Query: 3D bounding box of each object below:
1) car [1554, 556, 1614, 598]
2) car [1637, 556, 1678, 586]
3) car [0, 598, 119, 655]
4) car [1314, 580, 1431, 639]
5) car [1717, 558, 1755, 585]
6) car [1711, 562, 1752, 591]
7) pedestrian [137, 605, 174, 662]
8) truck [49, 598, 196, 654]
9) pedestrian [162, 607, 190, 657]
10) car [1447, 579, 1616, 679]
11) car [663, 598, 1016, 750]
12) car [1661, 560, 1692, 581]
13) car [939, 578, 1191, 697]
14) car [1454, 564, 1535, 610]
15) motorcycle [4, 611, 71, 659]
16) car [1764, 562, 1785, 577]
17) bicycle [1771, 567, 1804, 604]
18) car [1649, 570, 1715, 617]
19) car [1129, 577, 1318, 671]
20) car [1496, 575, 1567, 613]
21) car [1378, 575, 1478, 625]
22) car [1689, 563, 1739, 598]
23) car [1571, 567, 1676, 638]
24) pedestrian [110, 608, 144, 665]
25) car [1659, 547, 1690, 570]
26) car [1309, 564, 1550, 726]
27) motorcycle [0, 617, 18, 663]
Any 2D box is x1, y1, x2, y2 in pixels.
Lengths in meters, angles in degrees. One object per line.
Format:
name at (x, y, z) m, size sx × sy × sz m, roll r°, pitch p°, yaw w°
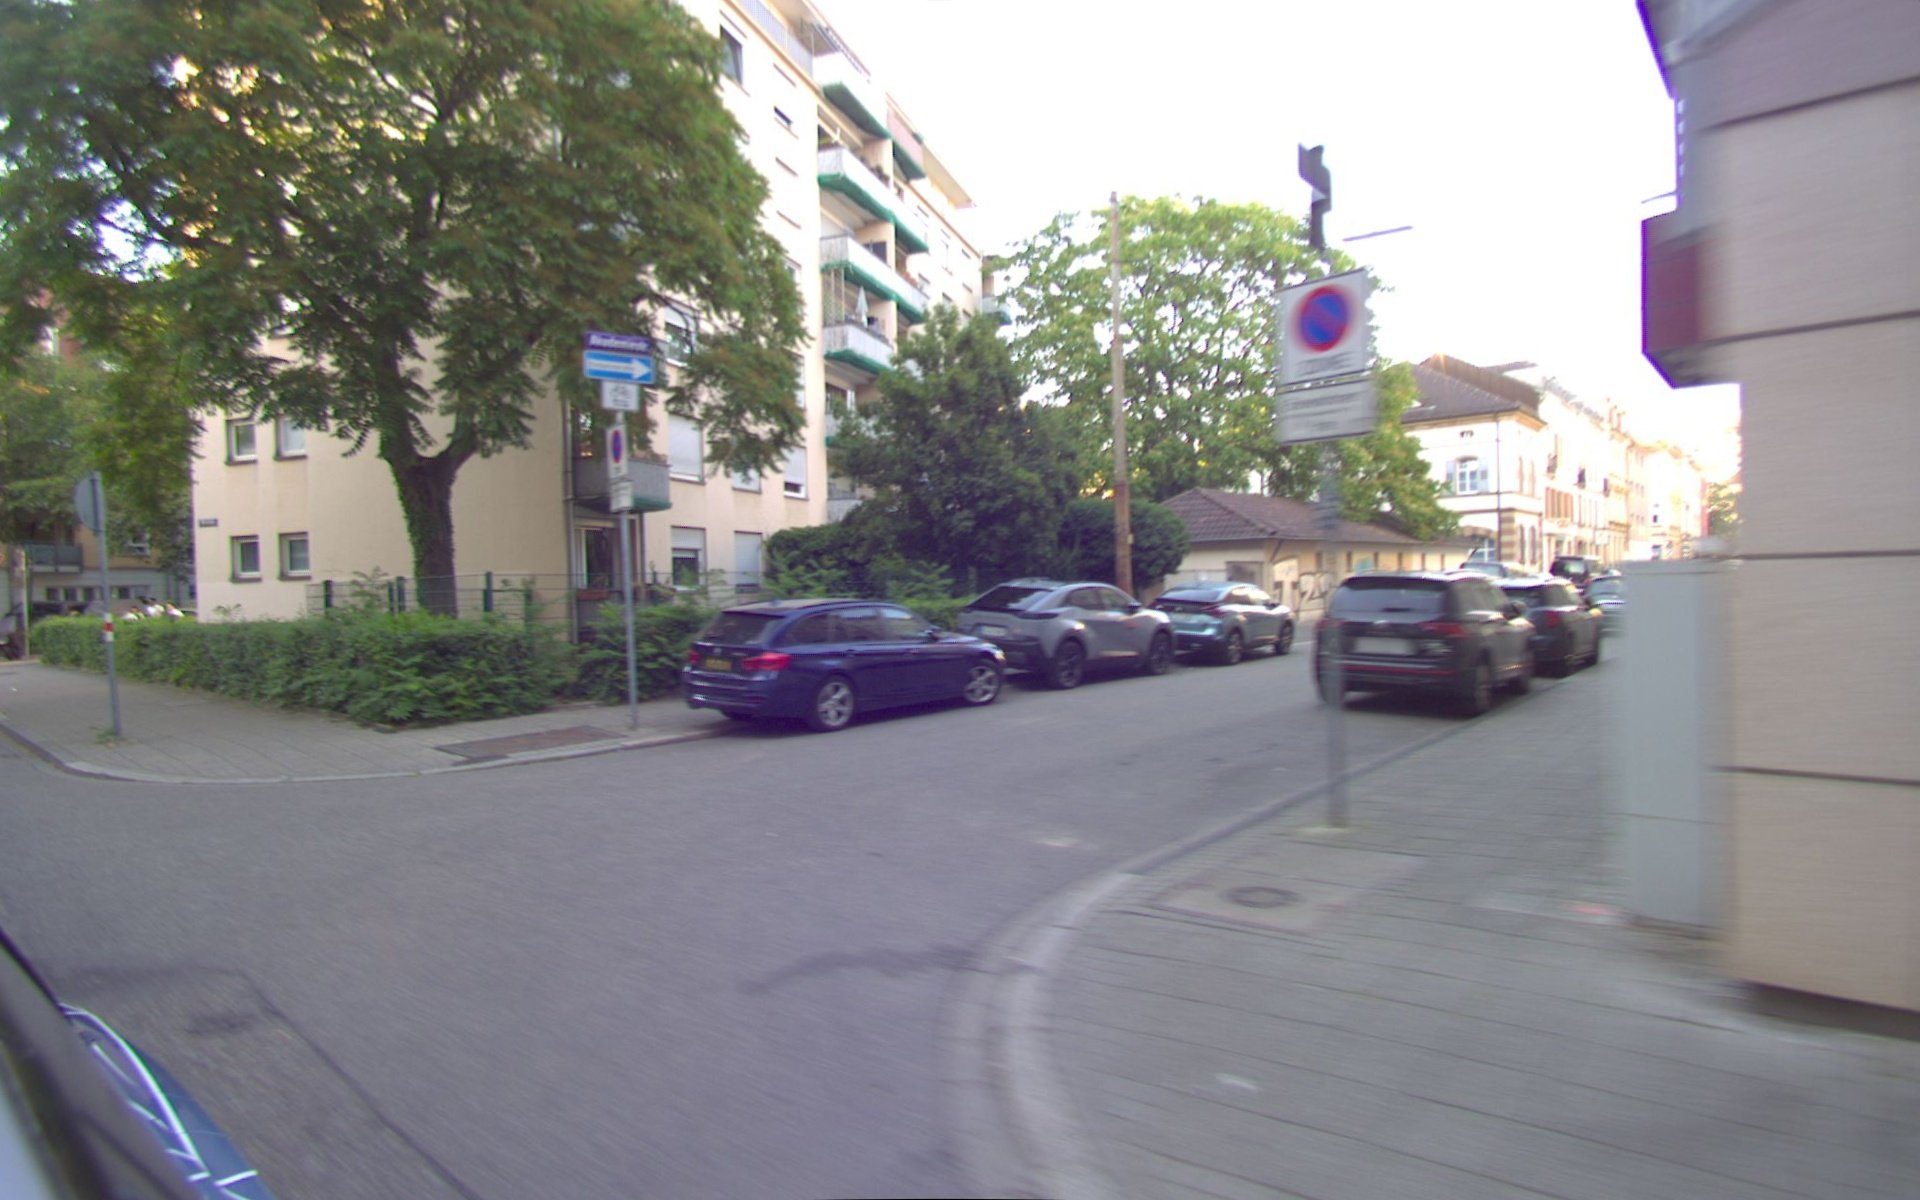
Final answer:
car at (30.753, -1.122, 49.829) m, size 1.845 × 1.975 × 3.848 m, roll -2°, pitch 0°, yaw 42°
car at (48.815, -2.010, 70.784) m, size 1.845 × 1.975 × 3.848 m, roll -2°, pitch 0°, yaw 42°
car at (-37.634, 1.056, 42.059) m, size 4.599 × 2.149 × 2.024 m, roll 2°, pitch 1°, yaw 19°
car at (11.576, 0.229, 28.299) m, size 1.845 × 1.496 × 3.848 m, roll -1°, pitch 0°, yaw 42°
car at (47.036, -1.707, 61.311) m, size 1.498 × 1.520 × 3.139 m, roll -2°, pitch 0°, yaw 43°
car at (42.978, -1.319, 56.361) m, size 1.498 × 1.520 × 3.139 m, roll -2°, pitch 0°, yaw 43°
pedestrian at (-26.248, 1.096, 33.030) m, size 0.694 × 1.801 × 0.660 m, roll -2°, pitch 0°, yaw 23°
truck at (-37.001, 1.106, 44.697) m, size 5.977 × 2.149 × 2.247 m, roll 2°, pitch 1°, yaw 19°
pedestrian at (-25.244, 1.026, 32.591) m, size 0.657 × 1.583 × 0.445 m, roll -1°, pitch 0°, yaw 23°
car at (9.508, 0.417, 16.696) m, size 1.760 × 1.459 × 3.794 m, roll -2°, pitch 0°, yaw 40°
car at (-1.282, 0.751, 12.357) m, size 1.684 × 1.469 × 4.301 m, roll -2°, pitch 0°, yaw 39°
car at (55.124, -2.268, 77.845) m, size 1.498 × 1.520 × 3.139 m, roll -2°, pitch 0°, yaw 43°
car at (1.824, 0.517, 16.460) m, size 1.828 × 1.652 × 4.323 m, roll -2°, pitch 0°, yaw 42°
car at (20.262, -0.488, 38.286) m, size 1.845 × 1.621 × 3.848 m, roll -1°, pitch 0°, yaw 42°
motorcycle at (-30.312, 1.157, 33.255) m, size 2.208 × 1.505 × 0.686 m, roll -2°, pitch 0°, yaw 21°
car at (85.865, -3.200, 106.633) m, size 1.498 × 1.520 × 3.139 m, roll -2°, pitch 0°, yaw 43°
bicycle at (30.448, -0.549, 37.236) m, size 0.794 × 1.270 × 2.915 m, roll -4°, pitch 0°, yaw 41°
car at (25.743, -0.246, 36.043) m, size 1.498 × 1.532 × 3.139 m, roll -2°, pitch 0°, yaw 43°
car at (5.367, 0.424, 20.281) m, size 1.828 × 1.652 × 4.323 m, roll -2°, pitch 0°, yaw 42°
car at (24.177, -0.276, 42.746) m, size 1.845 × 1.496 × 3.848 m, roll -1°, pitch 0°, yaw 42°
car at (14.986, -0.024, 32.300) m, size 1.845 × 1.496 × 3.848 m, roll -1°, pitch 0°, yaw 42°
car at (35.036, -0.900, 46.999) m, size 1.498 × 1.520 × 3.139 m, roll -2°, pitch 0°, yaw 43°
car at (16.180, 0.048, 24.632) m, size 1.616 × 1.599 × 3.139 m, roll -2°, pitch 0°, yaw 43°
pedestrian at (-27.018, 1.164, 32.819) m, size 0.687 × 1.801 × 0.531 m, roll -2°, pitch 0°, yaw -21°
car at (64.800, -3.702, 91.772) m, size 1.845 × 1.975 × 3.848 m, roll -2°, pitch 0°, yaw 42°
car at (5.873, 0.423, 12.437) m, size 1.794 × 1.668 × 3.795 m, roll 1°, pitch 1°, yaw 39°
motorcycle at (-29.345, 1.224, 30.896) m, size 0.712 × 1.384 × 2.228 m, roll -2°, pitch 0°, yaw -40°
